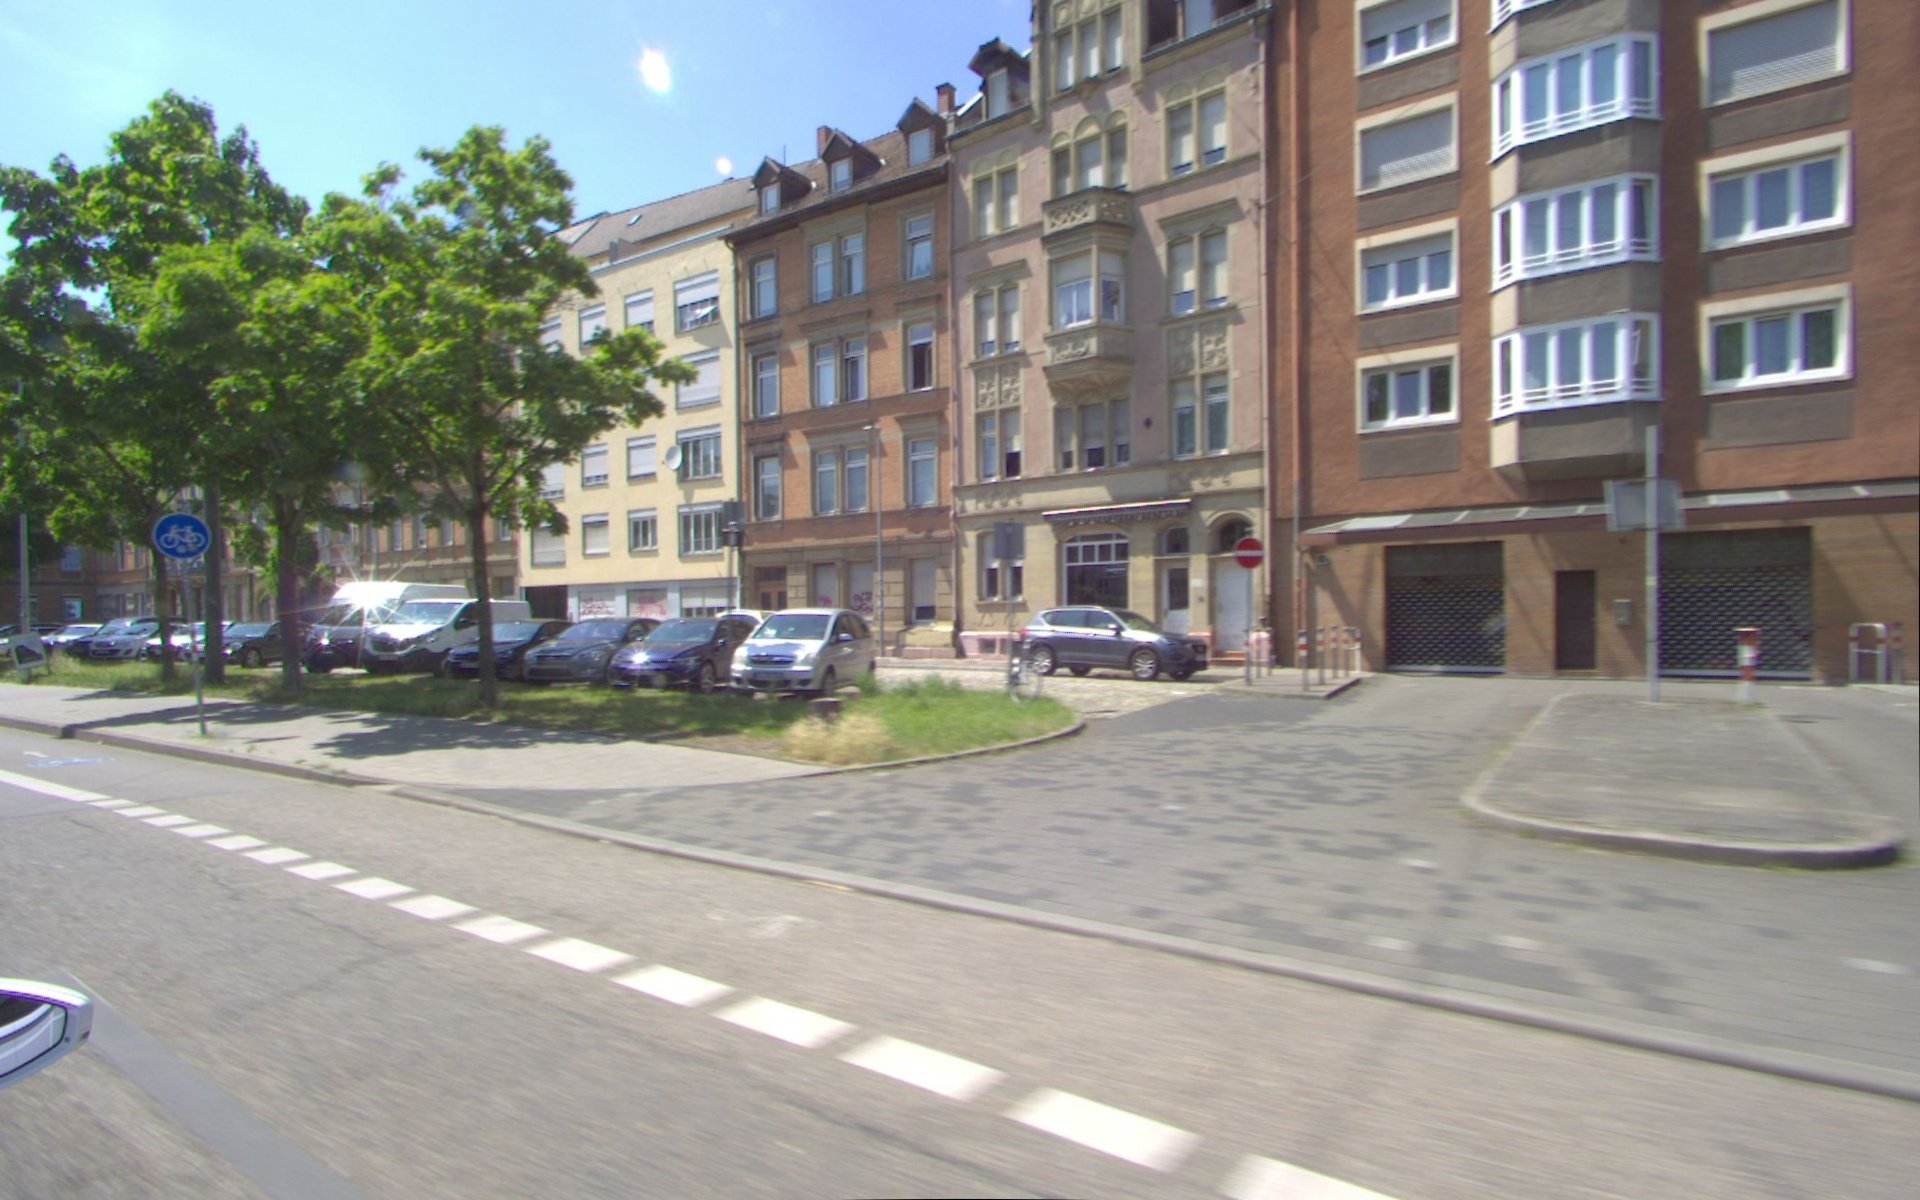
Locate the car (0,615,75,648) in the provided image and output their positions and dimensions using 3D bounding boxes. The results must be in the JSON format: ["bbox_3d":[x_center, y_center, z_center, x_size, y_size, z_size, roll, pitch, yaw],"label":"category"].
[{"bbox_3d":[-43.374,1.431,45.881,1.763,1.488,4.093,0,-1,7],"label":"car"}]

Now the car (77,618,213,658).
[{"bbox_3d":[-30.206,1.397,37.292,1.679,1.418,4.001,0,-1,3],"label":"car"}]

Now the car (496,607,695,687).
[{"bbox_3d":[-7.635,0.957,21.530,1.928,1.516,4.632,0,-1,11],"label":"car"}]

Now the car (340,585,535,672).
[{"bbox_3d":[-13.048,0.717,25.431,2.036,1.998,4.849,0,-1,6],"label":"car"}]

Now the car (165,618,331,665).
[{"bbox_3d":[-22.260,1.269,31.548,1.934,1.355,4.433,0,-1,3],"label":"car"}]

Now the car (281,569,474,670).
[{"bbox_3d":[-15.737,0.559,27.521,2.194,2.492,5.553,0,-1,-2],"label":"car"}]

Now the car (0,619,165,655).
[{"bbox_3d":[-34.803,1.447,39.766,2.109,1.330,4.785,0,-1,13],"label":"car"}]

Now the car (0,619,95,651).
[{"bbox_3d":[-40.986,1.525,44.084,1.935,1.330,3.998,0,-1,13],"label":"car"}]

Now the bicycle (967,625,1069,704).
[{"bbox_3d":[0.923,1.026,16.650,0.729,1.208,2.353,0,-1,-23],"label":"bicycle"}]

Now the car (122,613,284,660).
[{"bbox_3d":[-25.096,1.203,33.460,1.934,1.446,4.694,0,-1,-2],"label":"car"}]

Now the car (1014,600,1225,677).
[{"bbox_3d":[3.634,0.867,23.328,4.548,1.621,1.984,-1,-2,42],"label":"car"}]

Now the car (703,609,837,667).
[{"bbox_3d":[-5.911,1.159,31.028,3.945,1.705,1.815,-1,-1,34],"label":"car"}]

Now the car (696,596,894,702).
[{"bbox_3d":[-2.757,0.824,17.898,1.963,1.653,4.410,0,-1,13],"label":"car"}]

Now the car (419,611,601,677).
[{"bbox_3d":[-10.304,0.986,23.294,1.790,1.404,3.997,0,-1,14],"label":"car"}]

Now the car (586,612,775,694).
[{"bbox_3d":[-5.251,0.970,19.381,1.790,1.417,3.997,0,-1,14],"label":"car"}]

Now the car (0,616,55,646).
[{"bbox_3d":[-45.571,1.455,47.156,1.552,1.394,4.348,0,-1,9],"label":"car"}]

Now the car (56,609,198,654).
[{"bbox_3d":[-32.581,1.218,39.312,1.934,1.683,4.000,0,-1,9],"label":"car"}]
